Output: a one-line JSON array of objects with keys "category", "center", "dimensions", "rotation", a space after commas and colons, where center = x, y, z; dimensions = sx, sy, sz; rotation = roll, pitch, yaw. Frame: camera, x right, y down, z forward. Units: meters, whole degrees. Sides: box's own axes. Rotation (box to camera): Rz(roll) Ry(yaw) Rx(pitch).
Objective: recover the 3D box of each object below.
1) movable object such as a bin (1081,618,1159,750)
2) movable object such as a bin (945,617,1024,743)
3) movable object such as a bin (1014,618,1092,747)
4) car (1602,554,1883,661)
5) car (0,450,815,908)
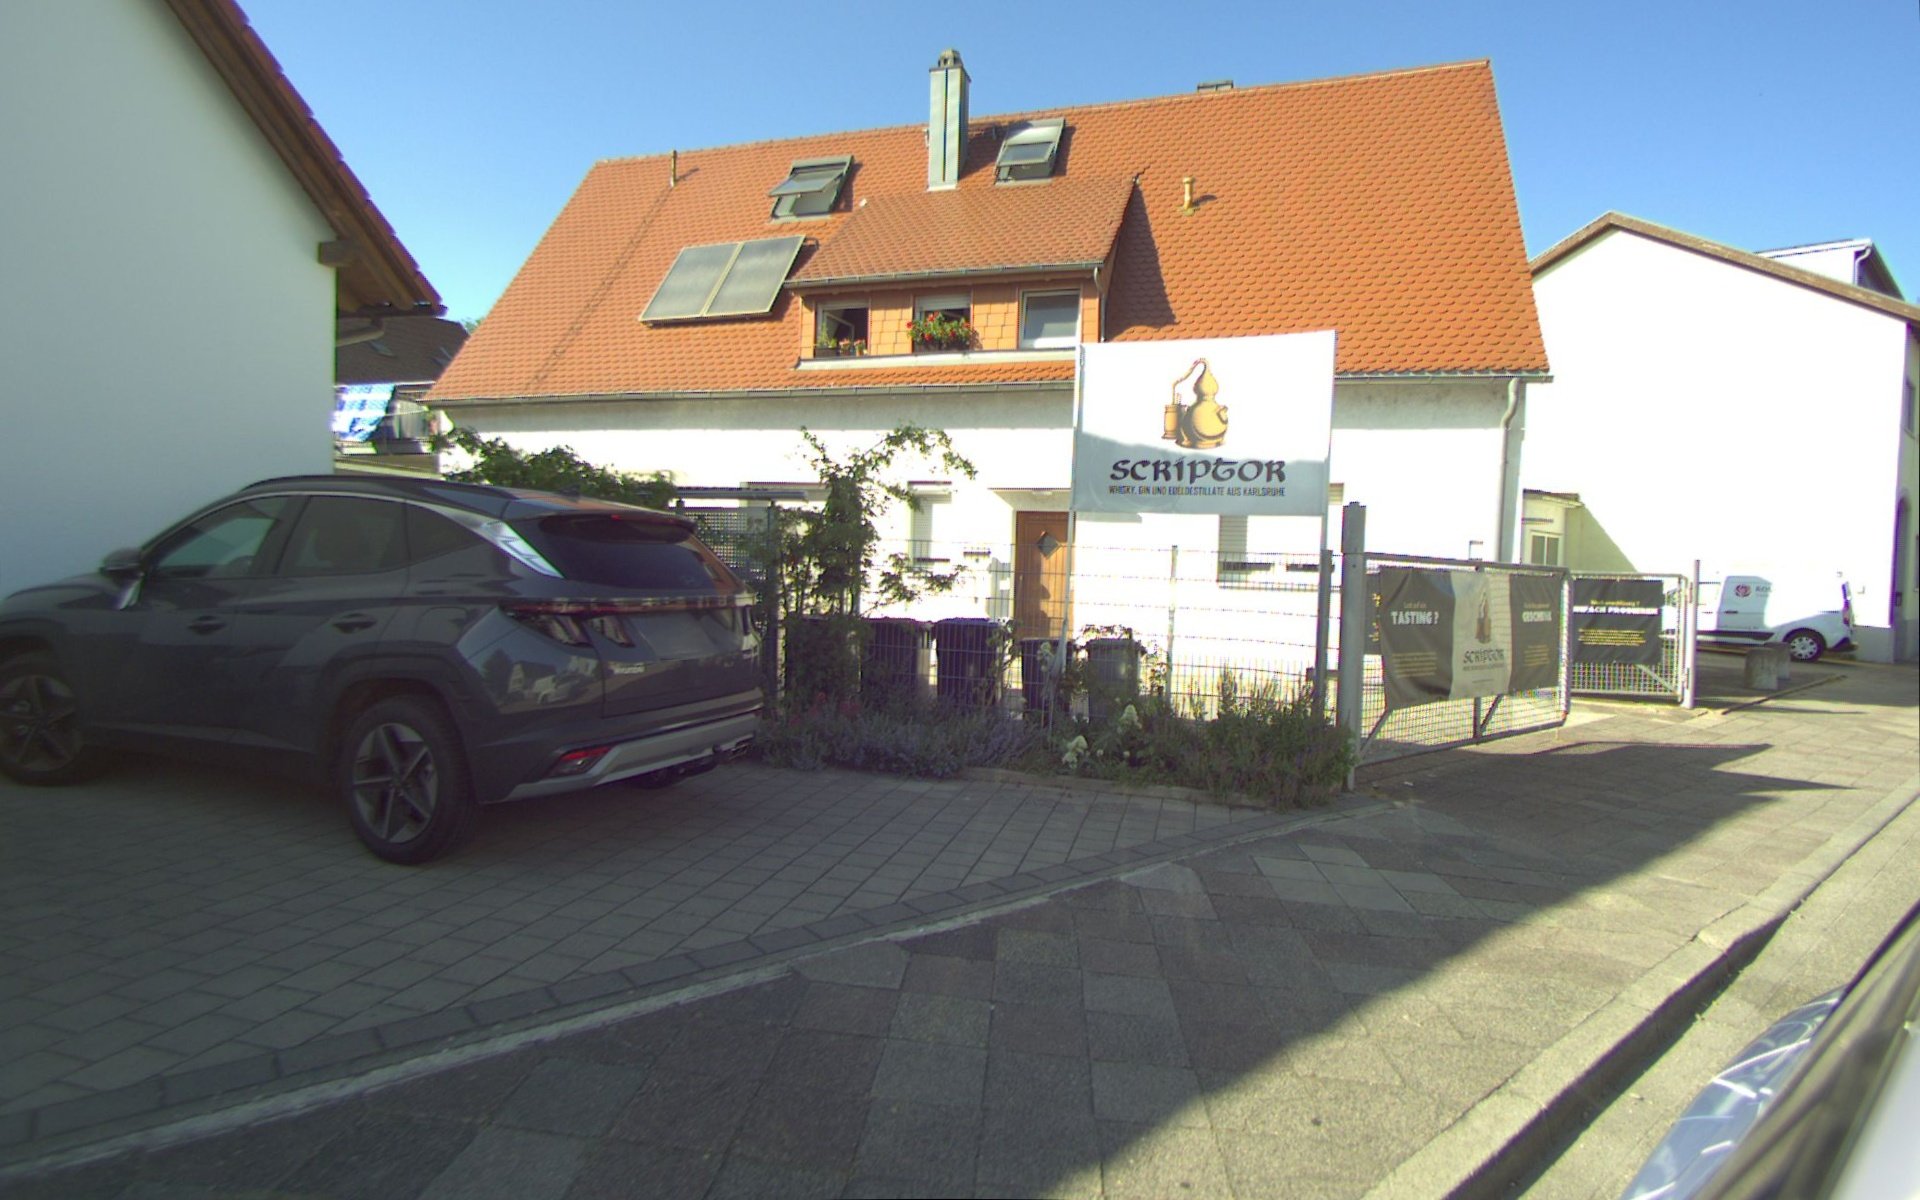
[{"category": "movable object such as a bin", "center": [1.205, 0.610, 7.587], "dimensions": [0.510, 0.934, 0.420], "rotation": [0, 0, 20]}, {"category": "movable object such as a bin", "center": [0.198, 0.614, 7.945], "dimensions": [0.510, 0.934, 0.420], "rotation": [0, 0, 21]}, {"category": "movable object such as a bin", "center": [0.719, 0.614, 7.779], "dimensions": [0.510, 0.934, 0.420], "rotation": [0, 0, 21]}, {"category": "car", "center": [17.539, 0.079, 22.905], "dimensions": [4.760, 1.909, 1.880], "rotation": [6, 4, 41]}, {"category": "car", "center": [-3.015, 0.175, 5.399], "dimensions": [4.001, 1.709, 1.899], "rotation": [3, 2, 21]}]
